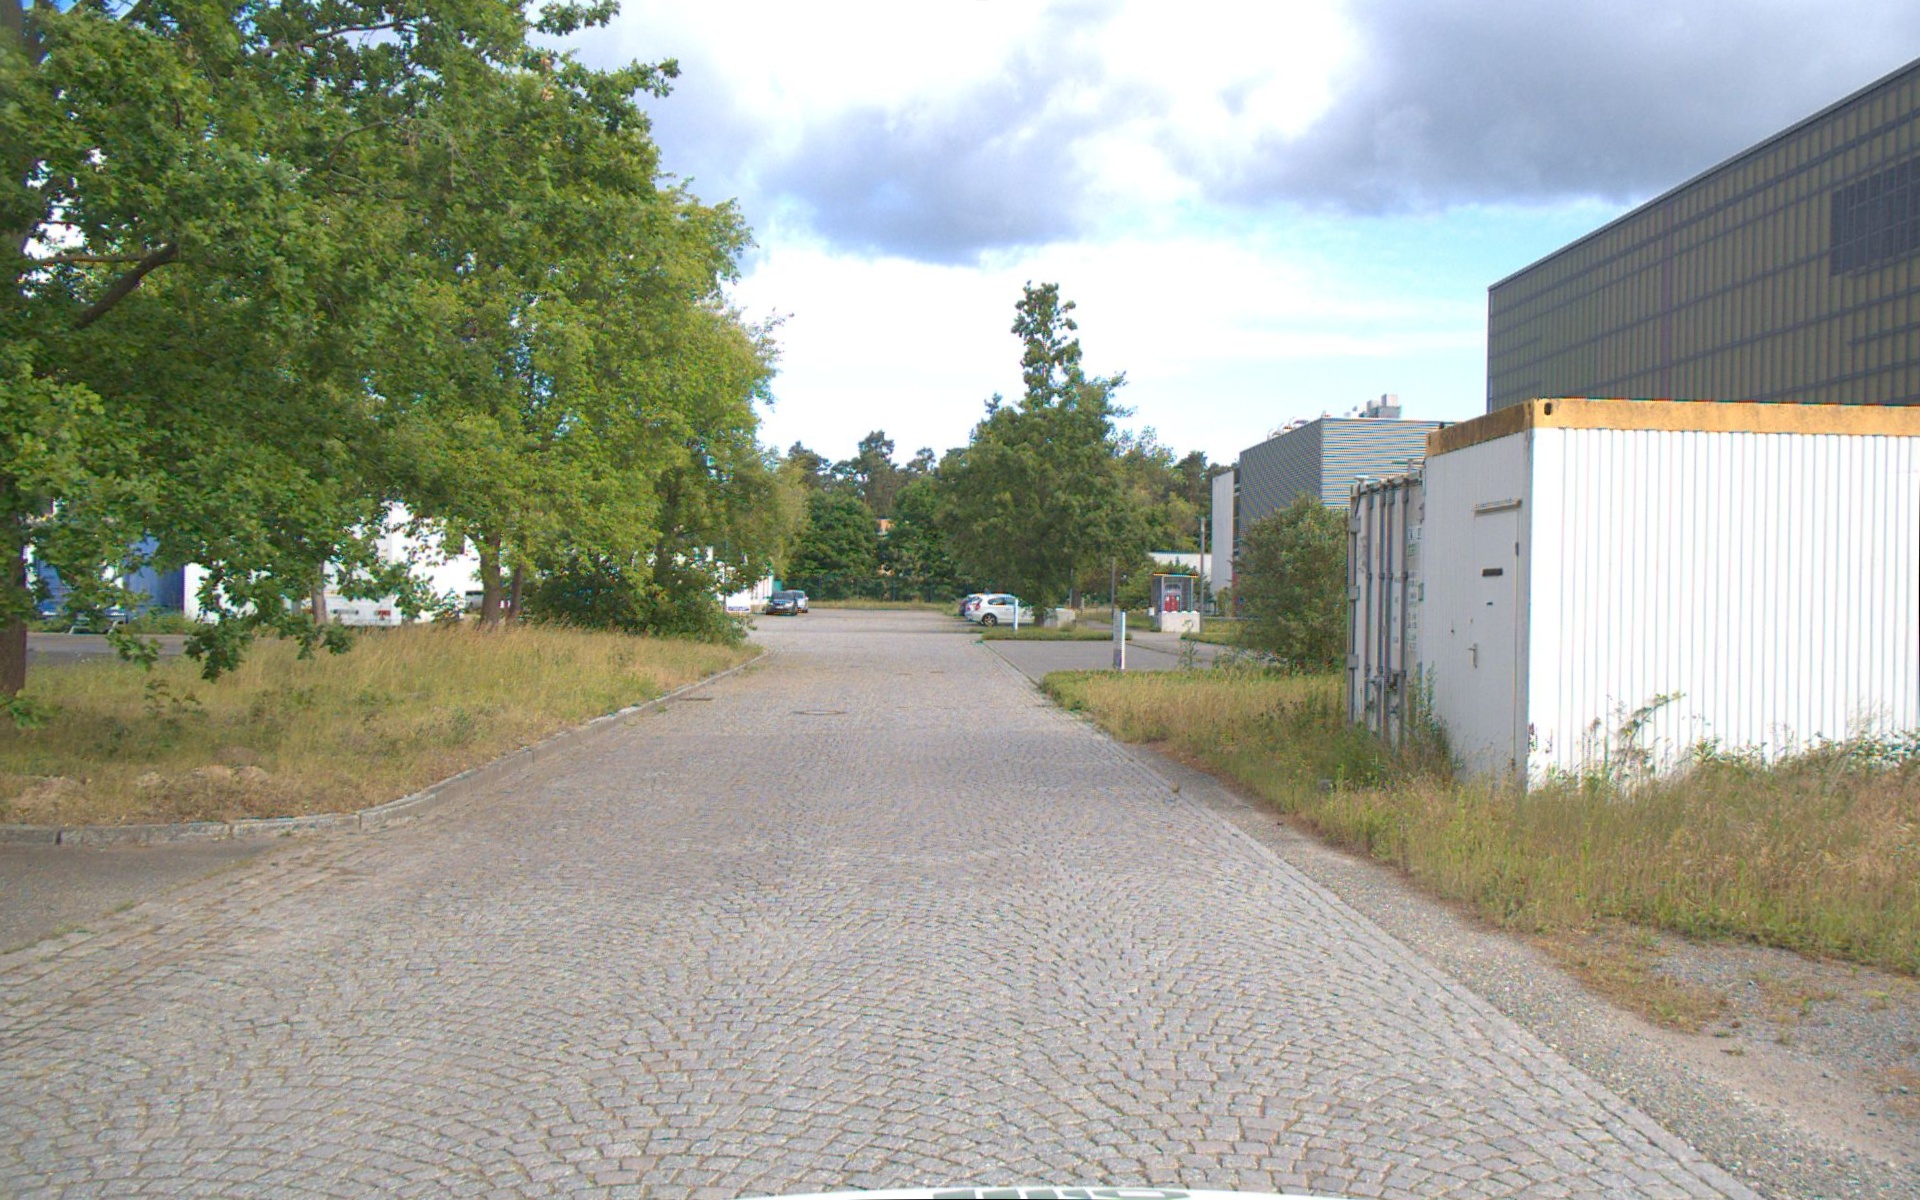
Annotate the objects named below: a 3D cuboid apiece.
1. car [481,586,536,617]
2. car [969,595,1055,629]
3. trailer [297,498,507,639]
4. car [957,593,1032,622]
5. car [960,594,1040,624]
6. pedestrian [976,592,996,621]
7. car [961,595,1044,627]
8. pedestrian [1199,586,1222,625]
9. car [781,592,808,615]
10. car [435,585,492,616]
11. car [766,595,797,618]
[{"bbox_3d":[-23.927,0.090,87.823,1.862,1.602,3.999,1,0,-1],"label":"car"},{"bbox_3d":[2.417,0.577,77.753,3.906,1.481,1.999,1,-1,-2],"label":"car"},{"bbox_3d":[-16.460,-0.851,49.811,2.602,3.770,10.721,1,0,0],"label":"trailer"},{"bbox_3d":[1.864,0.389,91.065,3.910,1.560,1.998,1,0,-6],"label":"car"},{"bbox_3d":[2.004,0.454,82.949,3.906,1.481,1.769,1,0,-2],"label":"car"},{"bbox_3d":[1.470,0.347,93.310,0.947,1.596,0.943,0,0,17],"label":"pedestrian"},{"bbox_3d":[2.053,0.508,79.909,3.906,1.481,1.697,1,0,-2],"label":"car"},{"bbox_3d":[13.147,0.281,86.833,0.903,2.049,1.144,1,0,-8],"label":"pedestrian"},{"bbox_3d":[-11.150,0.234,111.435,1.714,1.480,3.996,1,0,-4],"label":"car"},{"bbox_3d":[-26.571,0.039,88.699,1.862,1.602,3.999,1,0,-1],"label":"car"},{"bbox_3d":[-10.910,0.401,101.209,1.714,1.388,3.996,1,0,-4],"label":"car"}]
